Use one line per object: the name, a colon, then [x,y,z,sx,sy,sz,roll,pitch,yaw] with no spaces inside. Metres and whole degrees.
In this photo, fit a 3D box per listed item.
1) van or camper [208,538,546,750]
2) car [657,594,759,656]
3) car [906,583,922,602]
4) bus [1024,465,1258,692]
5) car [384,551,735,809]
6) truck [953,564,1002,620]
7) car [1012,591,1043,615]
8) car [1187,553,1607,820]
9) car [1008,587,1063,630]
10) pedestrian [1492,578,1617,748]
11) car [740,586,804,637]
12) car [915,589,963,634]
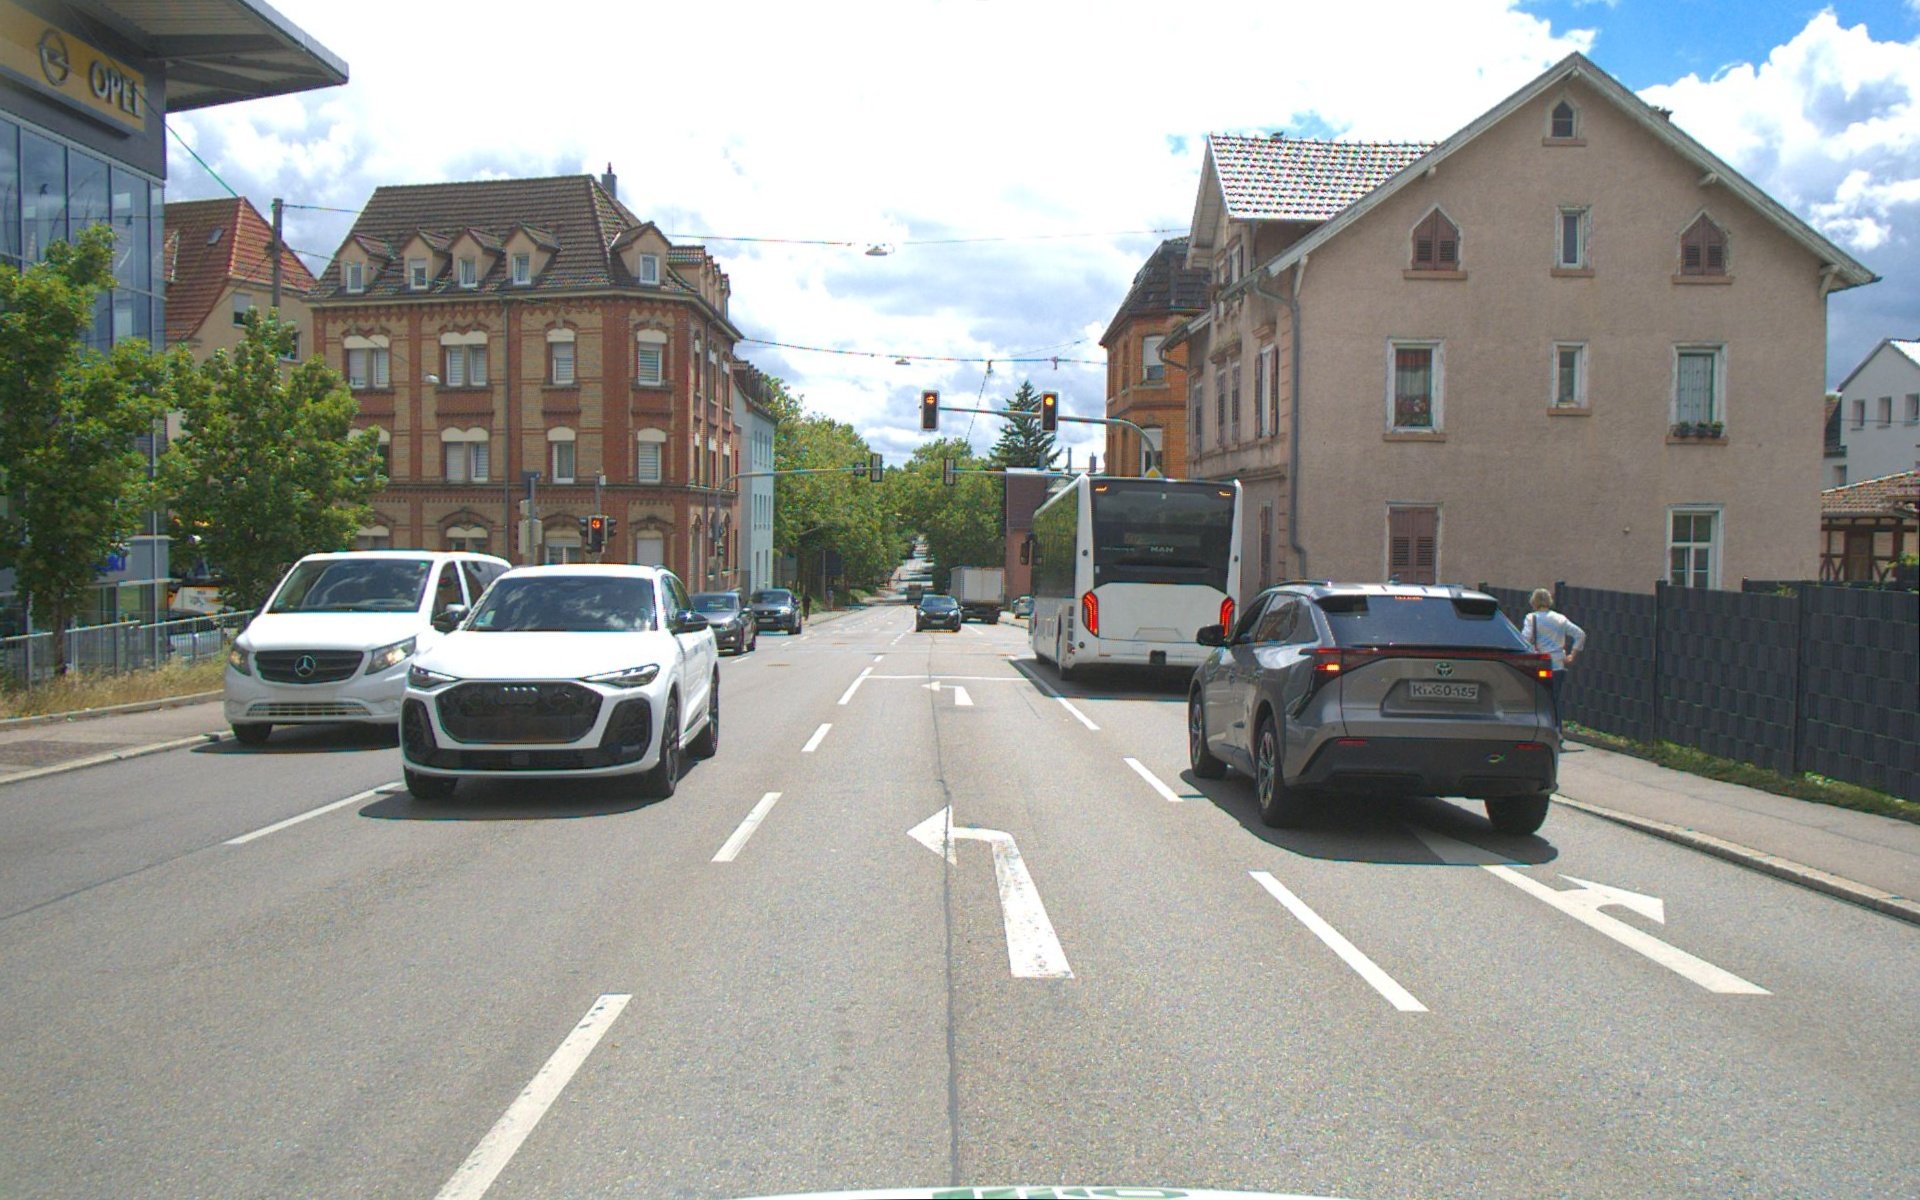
van or camper: [-6.025,0.375,17.847,1.930,1.948,5.127,0,1,-1]
car: [-5.840,0.548,38.788,1.826,1.342,4.258,0,1,-1]
car: [-5.094,-0.835,182.841,1.795,1.914,3.999,0,2,-2]
bus: [2.909,-0.349,30.483,2.745,3.253,12.193,2,0,-1]
car: [-2.921,0.500,13.034,1.826,1.685,4.377,0,1,-2]
truck: [1.004,-0.517,100.114,2.613,3.162,9.033,-1,1,-2]
car: [4.733,0.183,115.948,1.891,1.610,4.207,-1,1,-1]
car: [2.937,0.510,12.122,1.891,1.610,4.207,0,0,-1]
car: [2.993,0.320,66.179,1.891,1.610,4.207,-1,1,-1]
pedestrian: [5.877,0.596,16.400,0.796,1.609,1.069,-2,1,-1]
car: [-6.488,0.372,57.449,1.826,1.695,4.258,0,1,-1]
car: [-0.858,0.423,65.851,1.826,1.695,4.258,0,1,-1]
